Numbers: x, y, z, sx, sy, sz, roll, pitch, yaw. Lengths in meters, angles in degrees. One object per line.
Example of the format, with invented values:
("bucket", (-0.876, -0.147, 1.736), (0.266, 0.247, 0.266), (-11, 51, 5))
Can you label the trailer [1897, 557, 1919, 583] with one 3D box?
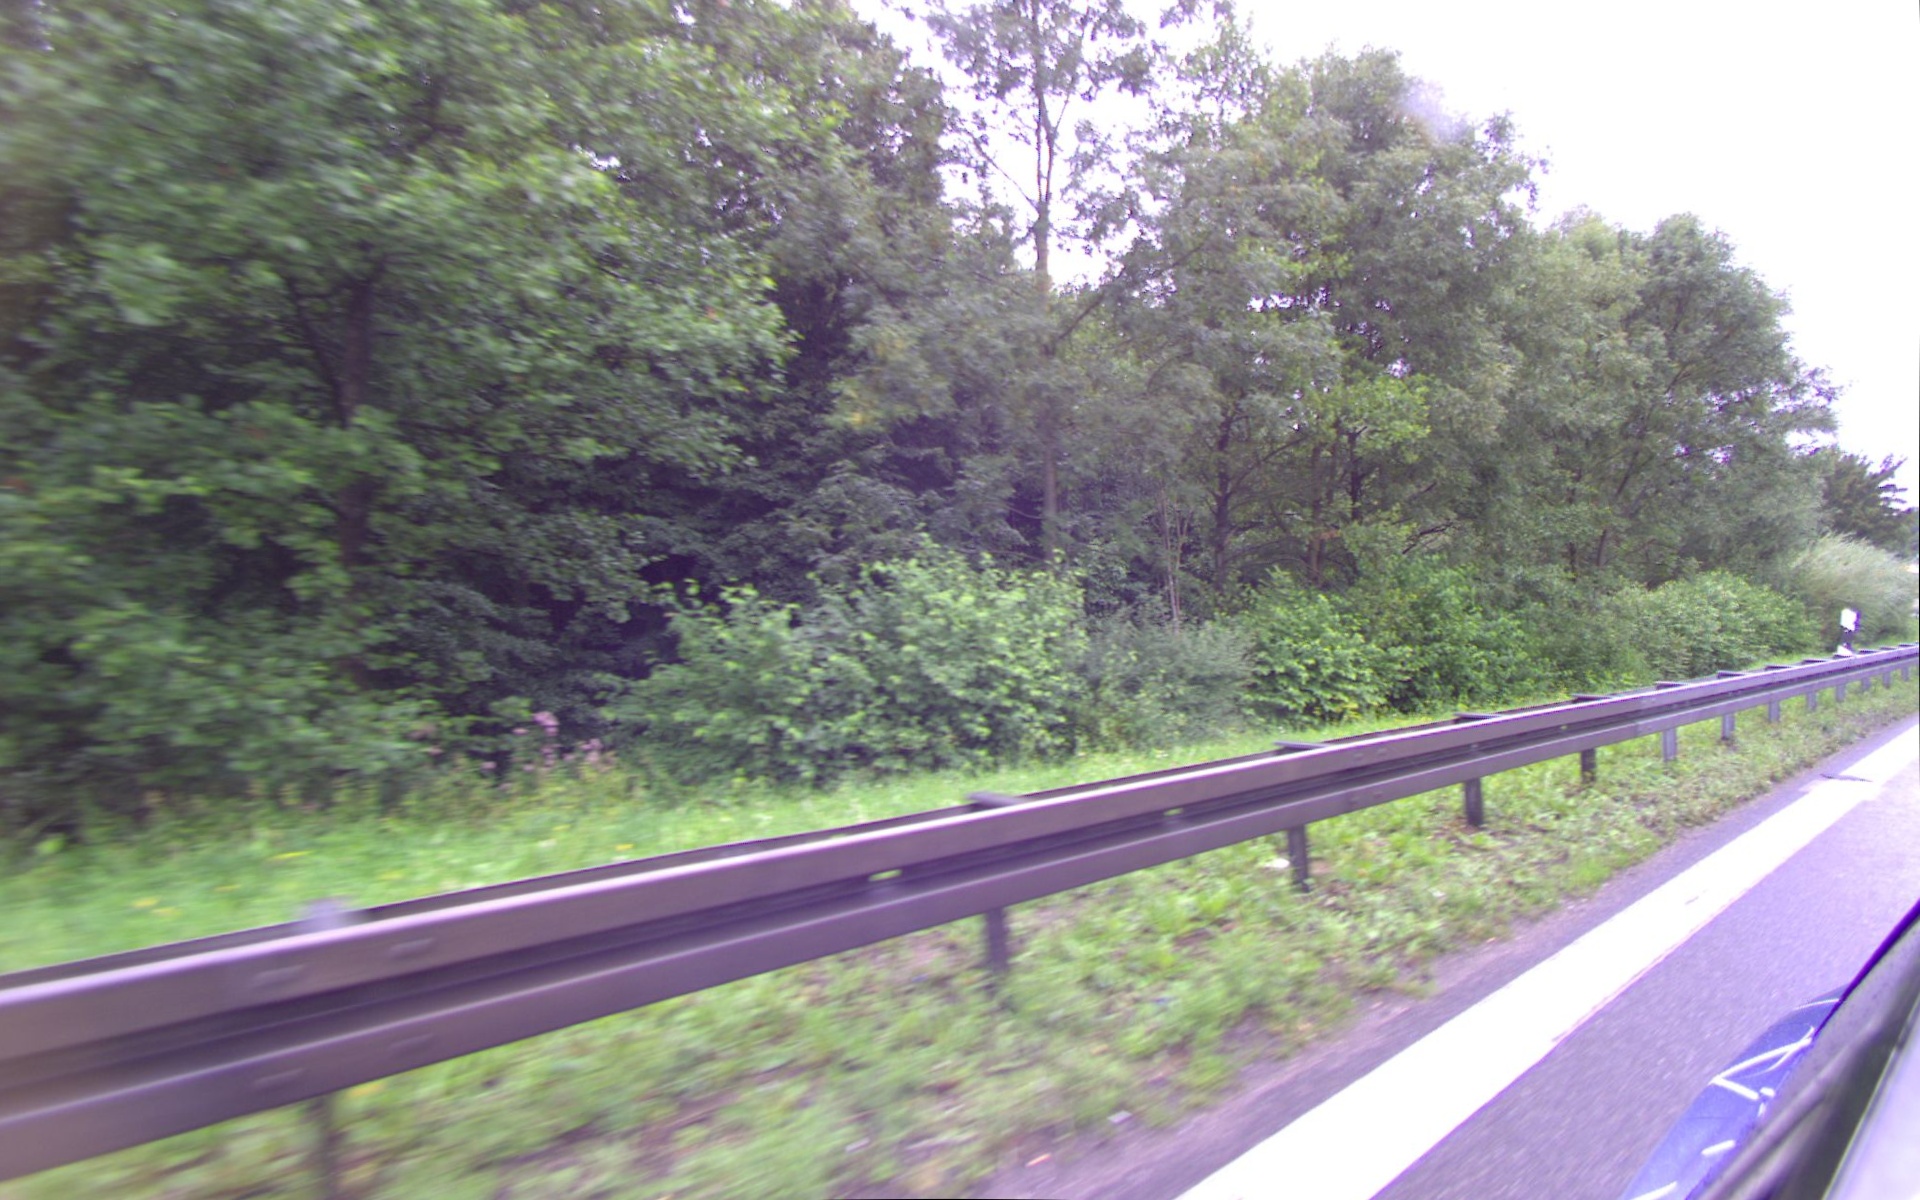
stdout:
("trailer", (154.636, -4.774, 159.183), (3.191, 4.141, 13.512), (0, 2, 7))

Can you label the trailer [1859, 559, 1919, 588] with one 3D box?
("trailer", (132.890, -3.731, 141.270), (3.191, 3.967, 14.808), (0, 2, 7))

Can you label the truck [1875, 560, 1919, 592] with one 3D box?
("truck", (120.210, -3.069, 127.987), (2.796, 3.967, 8.107), (0, 2, 11))
